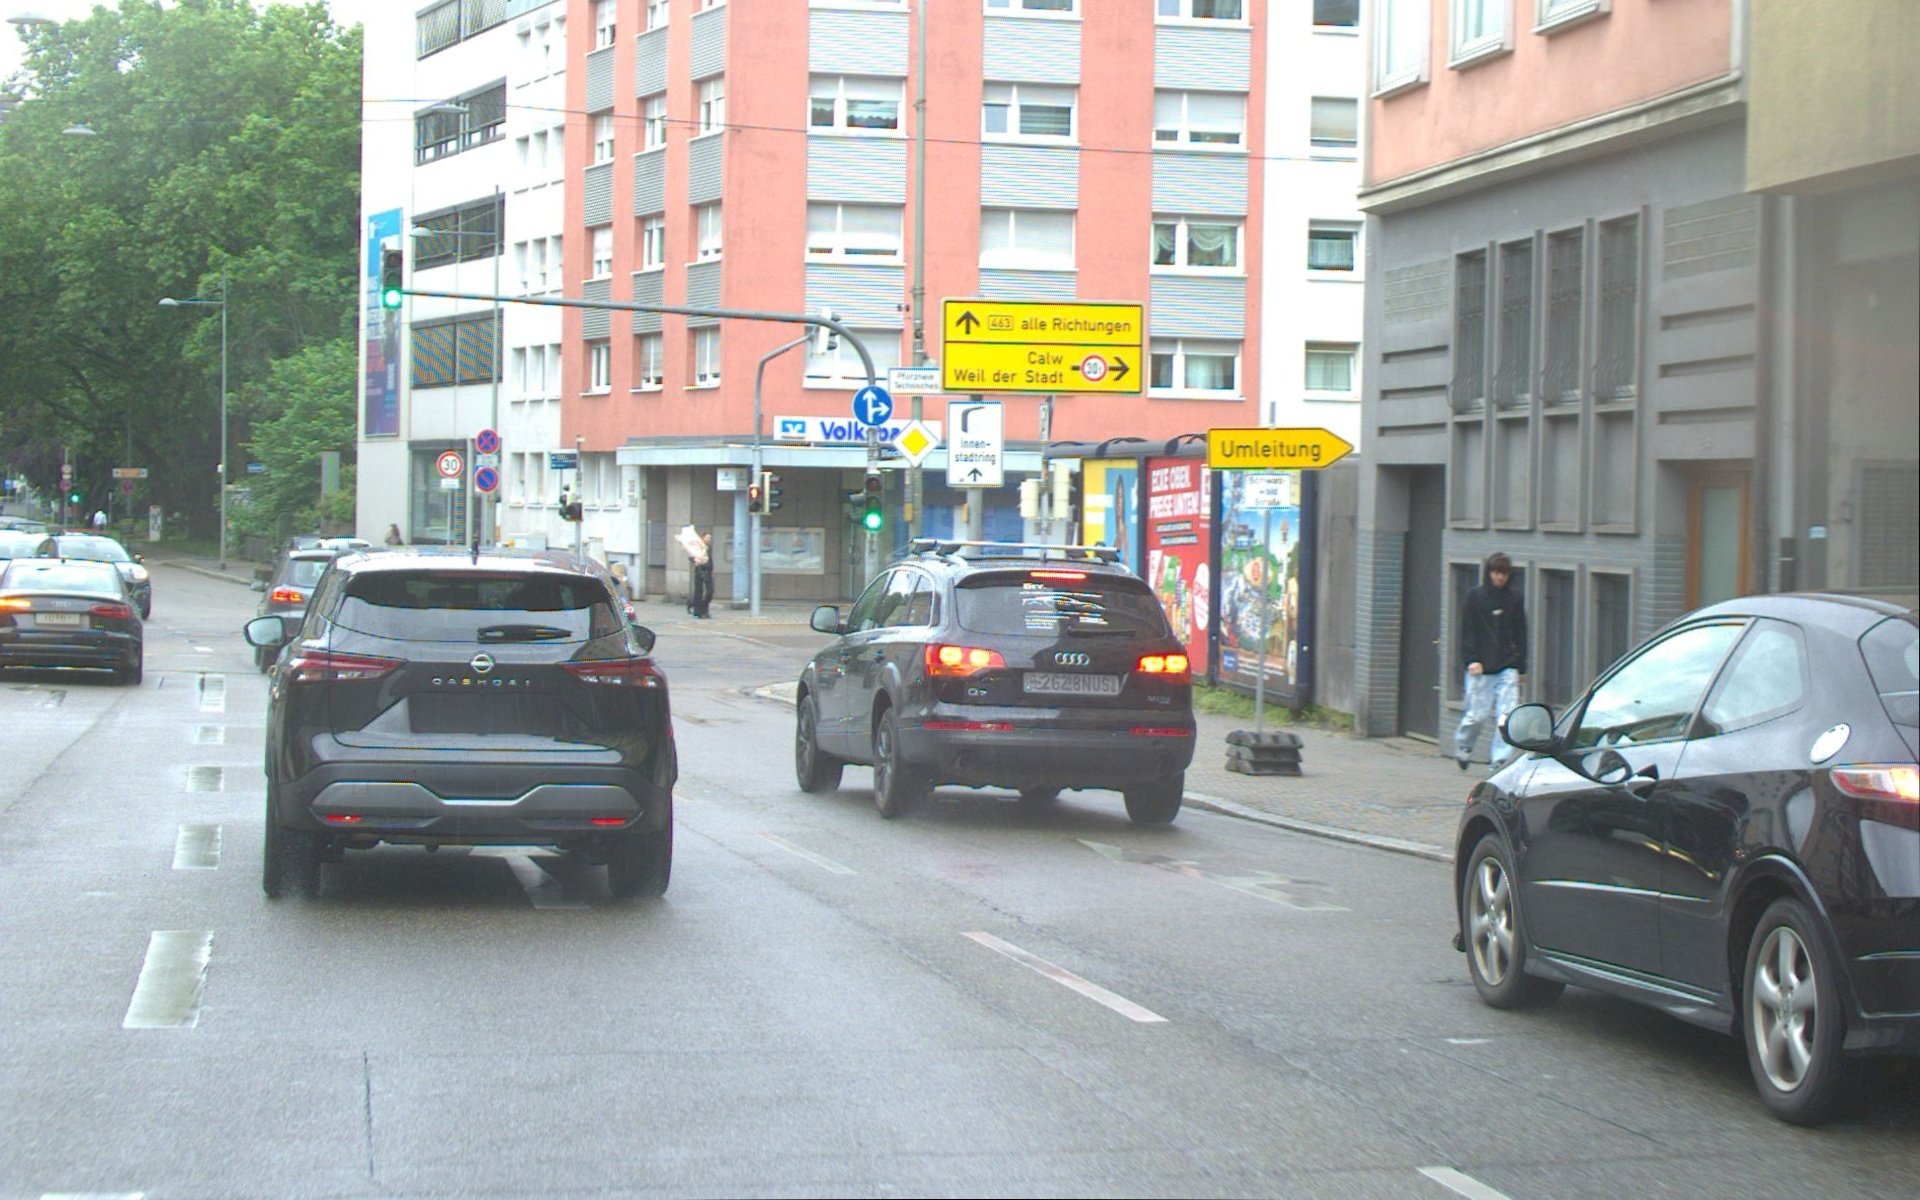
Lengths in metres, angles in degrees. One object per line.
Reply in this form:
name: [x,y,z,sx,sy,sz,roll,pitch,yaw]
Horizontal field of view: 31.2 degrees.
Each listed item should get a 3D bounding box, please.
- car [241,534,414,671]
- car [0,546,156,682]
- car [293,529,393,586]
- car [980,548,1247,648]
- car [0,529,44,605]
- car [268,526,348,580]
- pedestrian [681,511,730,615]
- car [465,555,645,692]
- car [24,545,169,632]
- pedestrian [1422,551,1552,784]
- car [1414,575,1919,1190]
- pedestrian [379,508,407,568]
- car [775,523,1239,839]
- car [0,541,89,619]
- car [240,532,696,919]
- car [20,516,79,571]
car: [-8.416,-0.010,45.521,1.945,1.679,4.001,-1,1,-14]
car: [-10.678,0.121,40.740,1.993,1.383,4.502,2,1,-16]
car: [-16.675,-1.163,92.737,1.774,1.396,4.581,-1,2,-22]
car: [2.604,-0.028,58.198,3.986,1.481,2.000,2,1,-29]
car: [-20.766,-0.723,74.357,1.820,1.603,4.432,0,1,-15]
car: [-18.766,-1.373,98.892,1.714,1.437,4.083,-1,2,-18]
pedestrian: [-5.393,-0.795,72.917,0.825,2.151,0.770,3,1,-13]
car: [-5.838,0.290,49.180,1.945,1.810,4.001,-1,1,-15]
car: [-16.239,-0.244,64.513,1.856,1.547,4.227,0,1,-25]
pedestrian: [4.159,0.516,27.209,0.672,1.781,1.095,1,1,-9]
car: [2.854,0.682,10.510,1.783,1.491,4.057,1,0,-9]
pedestrian: [-16.748,-1.834,101.471,0.612,1.731,0.681,-2,2,-26]
car: [0.173,0.465,23.424,2.020,1.863,4.901,2,0,-12]
car: [-18.740,-0.417,69.347,1.933,1.521,4.136,0,1,-19]
car: [-2.478,0.533,16.681,1.894,1.623,4.001,1,0,-11]
car: [-32.344,-2.008,122.071,1.820,1.790,3.867,2,1,-17]
